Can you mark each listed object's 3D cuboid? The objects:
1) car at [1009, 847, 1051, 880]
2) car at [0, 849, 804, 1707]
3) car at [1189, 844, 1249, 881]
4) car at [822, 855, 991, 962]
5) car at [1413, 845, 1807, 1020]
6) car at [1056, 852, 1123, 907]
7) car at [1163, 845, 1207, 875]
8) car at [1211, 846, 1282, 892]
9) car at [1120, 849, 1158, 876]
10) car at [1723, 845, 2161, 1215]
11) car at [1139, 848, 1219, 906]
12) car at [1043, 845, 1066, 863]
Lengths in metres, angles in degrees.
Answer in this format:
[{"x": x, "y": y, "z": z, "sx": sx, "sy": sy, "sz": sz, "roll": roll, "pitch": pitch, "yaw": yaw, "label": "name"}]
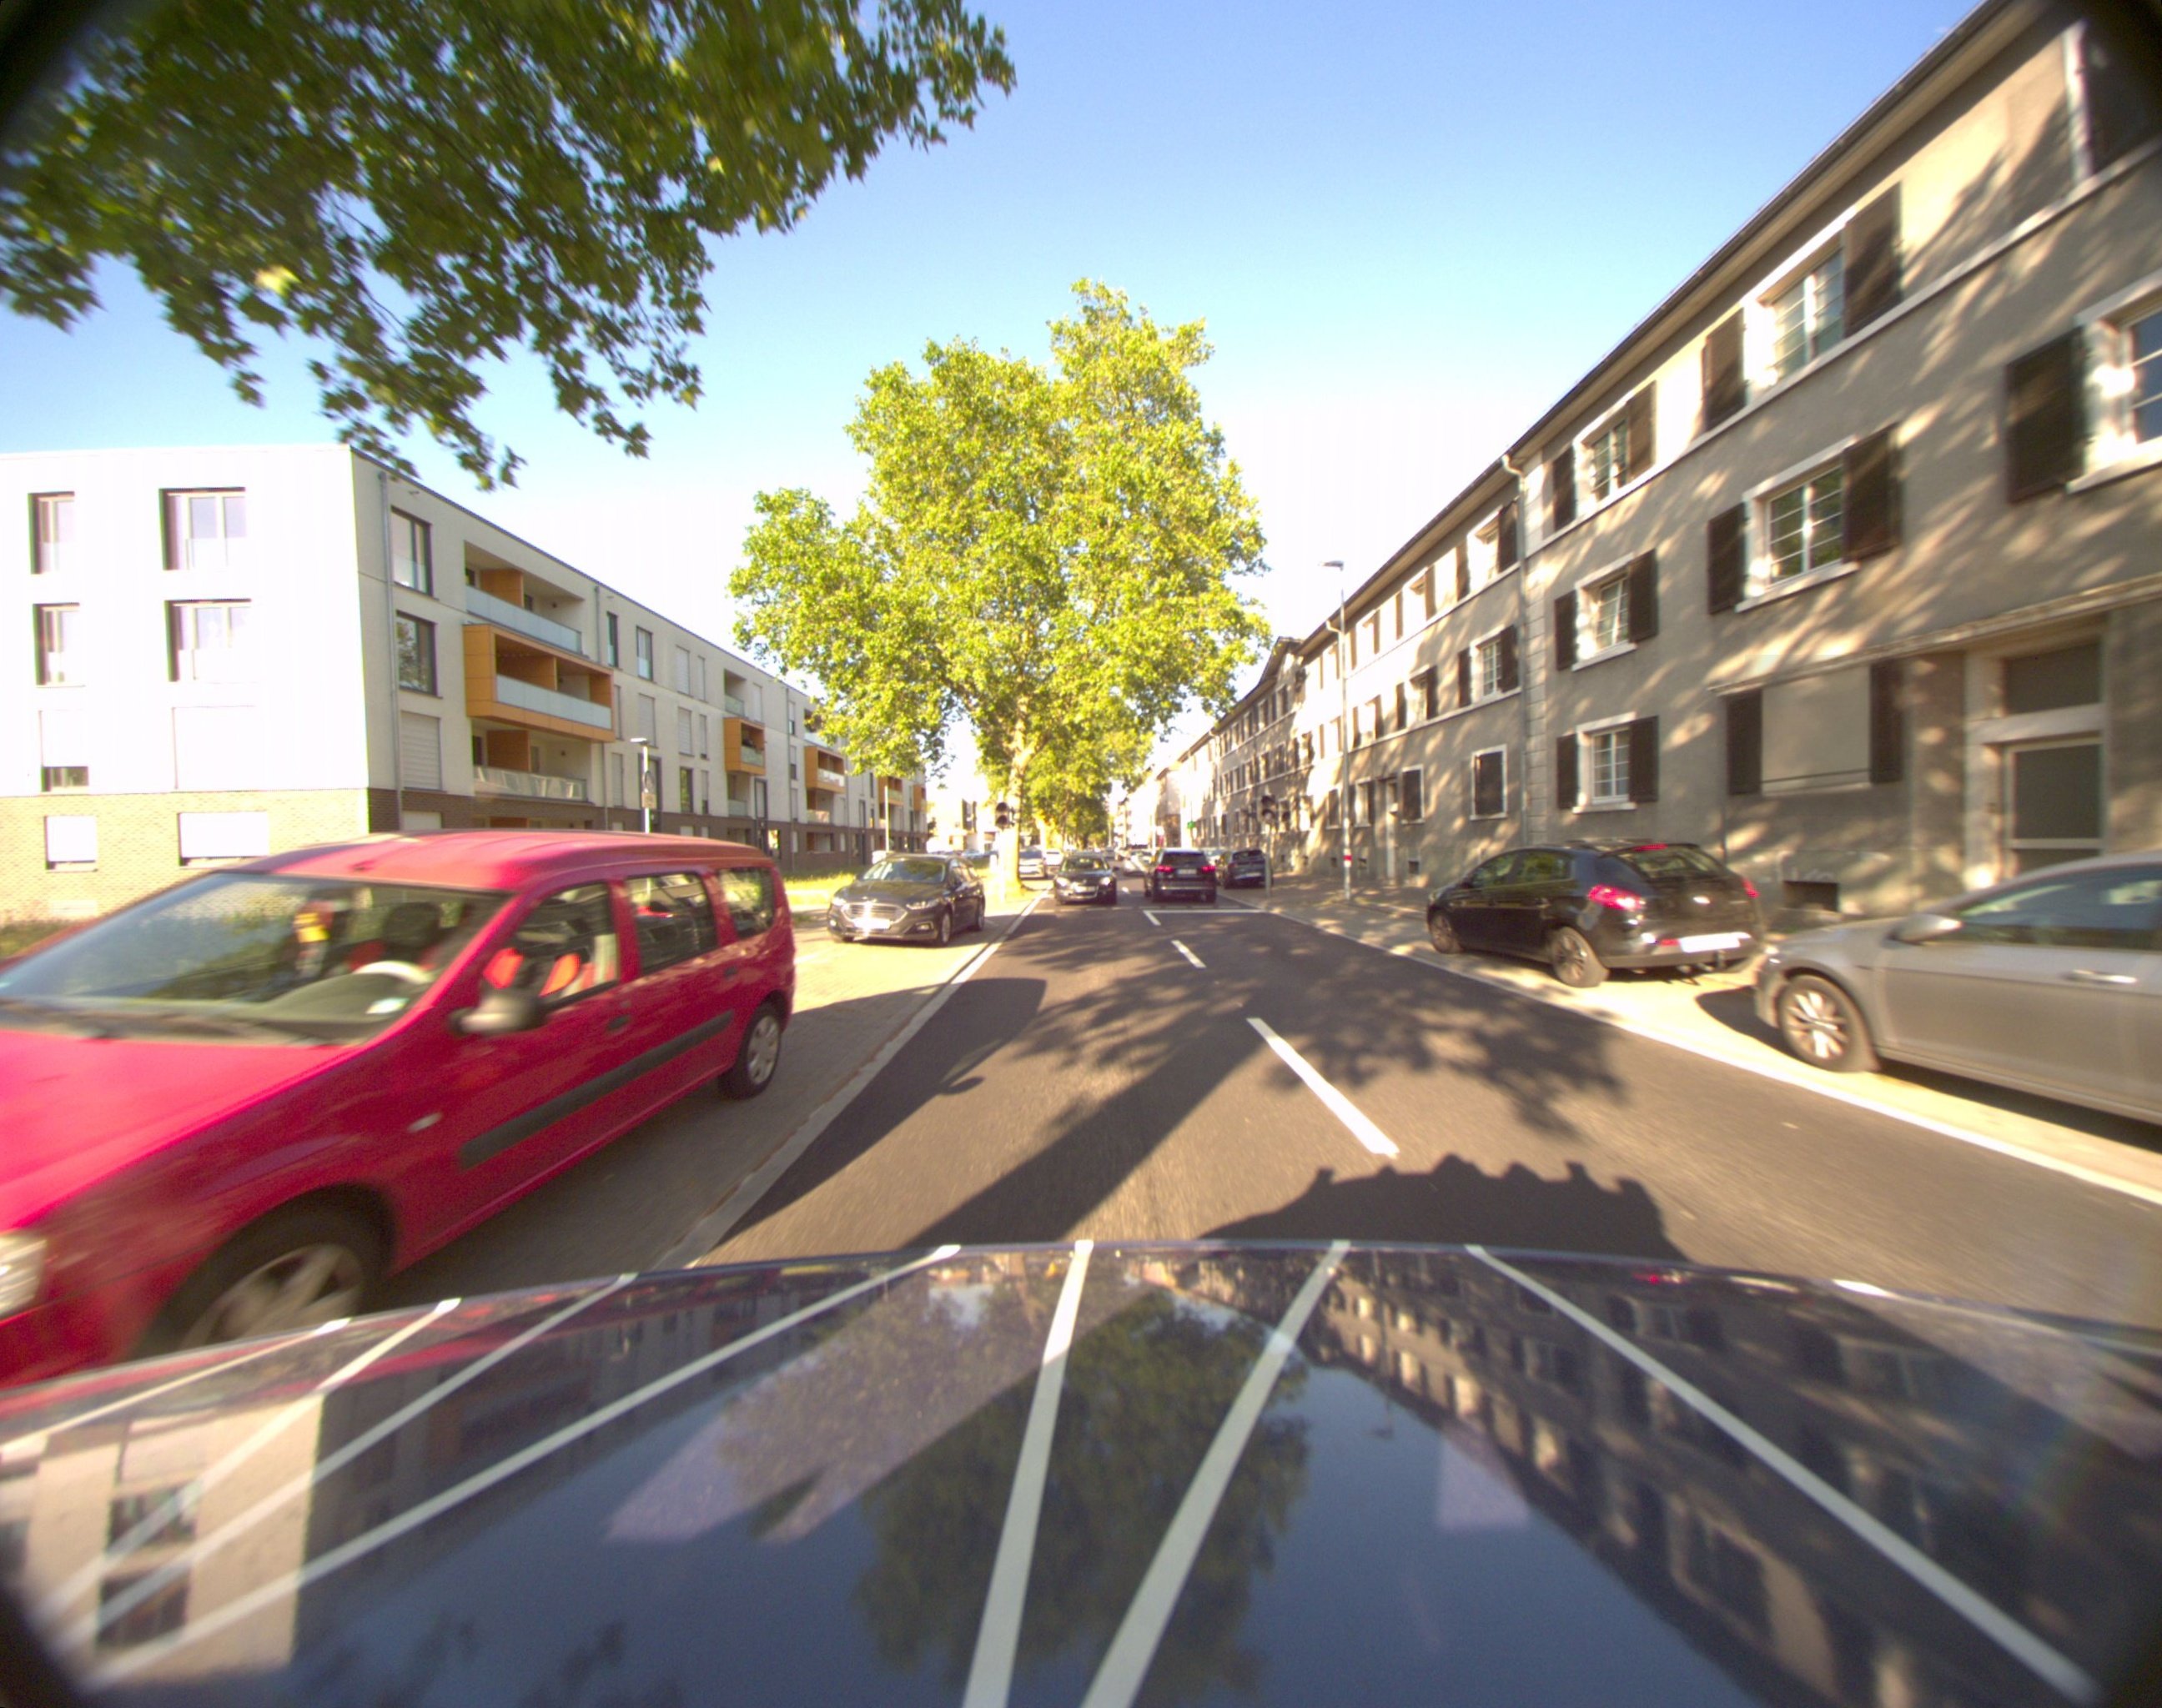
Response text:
[{"x": -2.608, "y": 0.460, "z": 39.709, "sx": 1.870, "sy": 1.603, "sz": 4.086, "roll": 0, "pitch": 1, "yaw": 1, "label": "car"}, {"x": -2.830, "y": 0.838, "z": 3.217, "sx": 1.602, "sy": 1.680, "sz": 4.336, "roll": -1, "pitch": 1, "yaw": 2, "label": "car"}, {"x": 6.160, "y": 0.347, "z": 34.336, "sx": 1.870, "sy": 1.475, "sz": 4.086, "roll": -3, "pitch": 1, "yaw": 0, "label": "car"}, {"x": -2.863, "y": 0.798, "z": 13.568, "sx": 1.704, "sy": 1.472, "sz": 4.697, "roll": 1, "pitch": 1, "yaw": 3, "label": "car"}, {"x": 5.715, "y": 0.693, "z": 8.955, "sx": 1.711, "sy": 1.498, "sz": 4.052, "roll": -3, "pitch": 1, "yaw": -1, "label": "car"}, {"x": 0.182, "y": 0.711, "z": 23.610, "sx": 1.870, "sy": 1.472, "sz": 4.085, "roll": -1, "pitch": 1, "yaw": -1, "label": "car"}, {"x": 6.029, "y": 0.289, "z": 44.465, "sx": 1.870, "sy": 1.603, "sz": 4.085, "roll": -2, "pitch": 1, "yaw": -1, "label": "car"}, {"x": 6.096, "y": 0.502, "z": 28.478, "sx": 1.869, "sy": 1.475, "sz": 4.086, "roll": -3, "pitch": 1, "yaw": 2, "label": "car"}, {"x": 3.304, "y": 0.438, "z": 44.079, "sx": 1.870, "sy": 1.475, "sz": 4.086, "roll": -1, "pitch": 1, "yaw": 0, "label": "car"}, {"x": 5.468, "y": 0.756, "z": 3.401, "sx": 1.765, "sy": 1.475, "sz": 4.108, "roll": -3, "pitch": 1, "yaw": 2, "label": "car"}, {"x": 2.892, "y": 0.621, "z": 23.197, "sx": 1.901, "sy": 1.581, "sz": 4.068, "roll": -1, "pitch": 1, "yaw": 0, "label": "car"}, {"x": -2.349, "y": -0.036, "z": 67.752, "sx": 1.885, "sy": 1.475, "sz": 3.999, "roll": -1, "pitch": 1, "yaw": 1, "label": "car"}]
